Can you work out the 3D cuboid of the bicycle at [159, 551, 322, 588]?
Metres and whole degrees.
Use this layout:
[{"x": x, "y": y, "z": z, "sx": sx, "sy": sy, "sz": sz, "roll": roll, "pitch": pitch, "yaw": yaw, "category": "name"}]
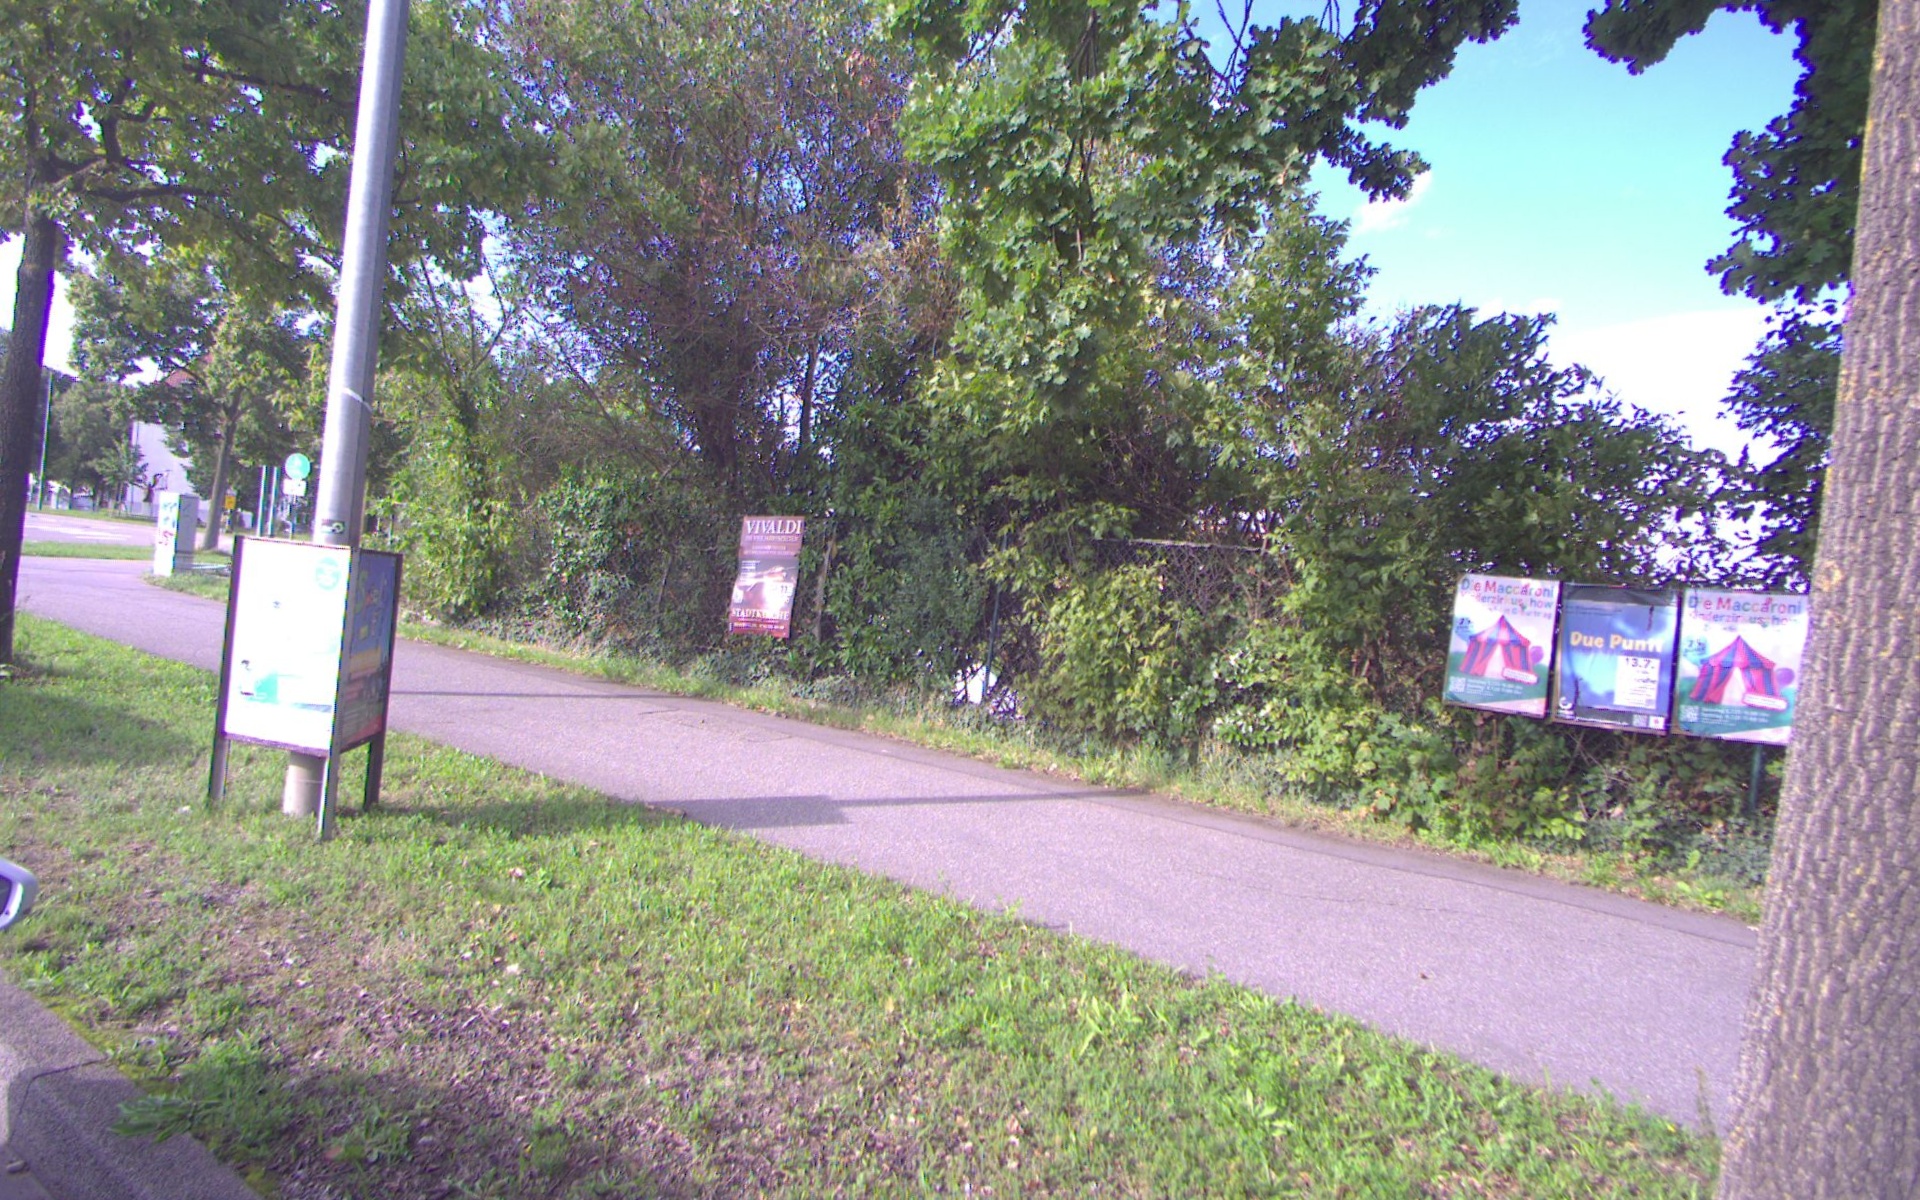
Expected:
[{"x": -13.963, "y": -0.583, "z": 19.542, "sx": 2.529, "sy": 0.390, "sz": 1.411, "roll": 7, "pitch": 0, "yaw": 21, "category": "bicycle"}]
